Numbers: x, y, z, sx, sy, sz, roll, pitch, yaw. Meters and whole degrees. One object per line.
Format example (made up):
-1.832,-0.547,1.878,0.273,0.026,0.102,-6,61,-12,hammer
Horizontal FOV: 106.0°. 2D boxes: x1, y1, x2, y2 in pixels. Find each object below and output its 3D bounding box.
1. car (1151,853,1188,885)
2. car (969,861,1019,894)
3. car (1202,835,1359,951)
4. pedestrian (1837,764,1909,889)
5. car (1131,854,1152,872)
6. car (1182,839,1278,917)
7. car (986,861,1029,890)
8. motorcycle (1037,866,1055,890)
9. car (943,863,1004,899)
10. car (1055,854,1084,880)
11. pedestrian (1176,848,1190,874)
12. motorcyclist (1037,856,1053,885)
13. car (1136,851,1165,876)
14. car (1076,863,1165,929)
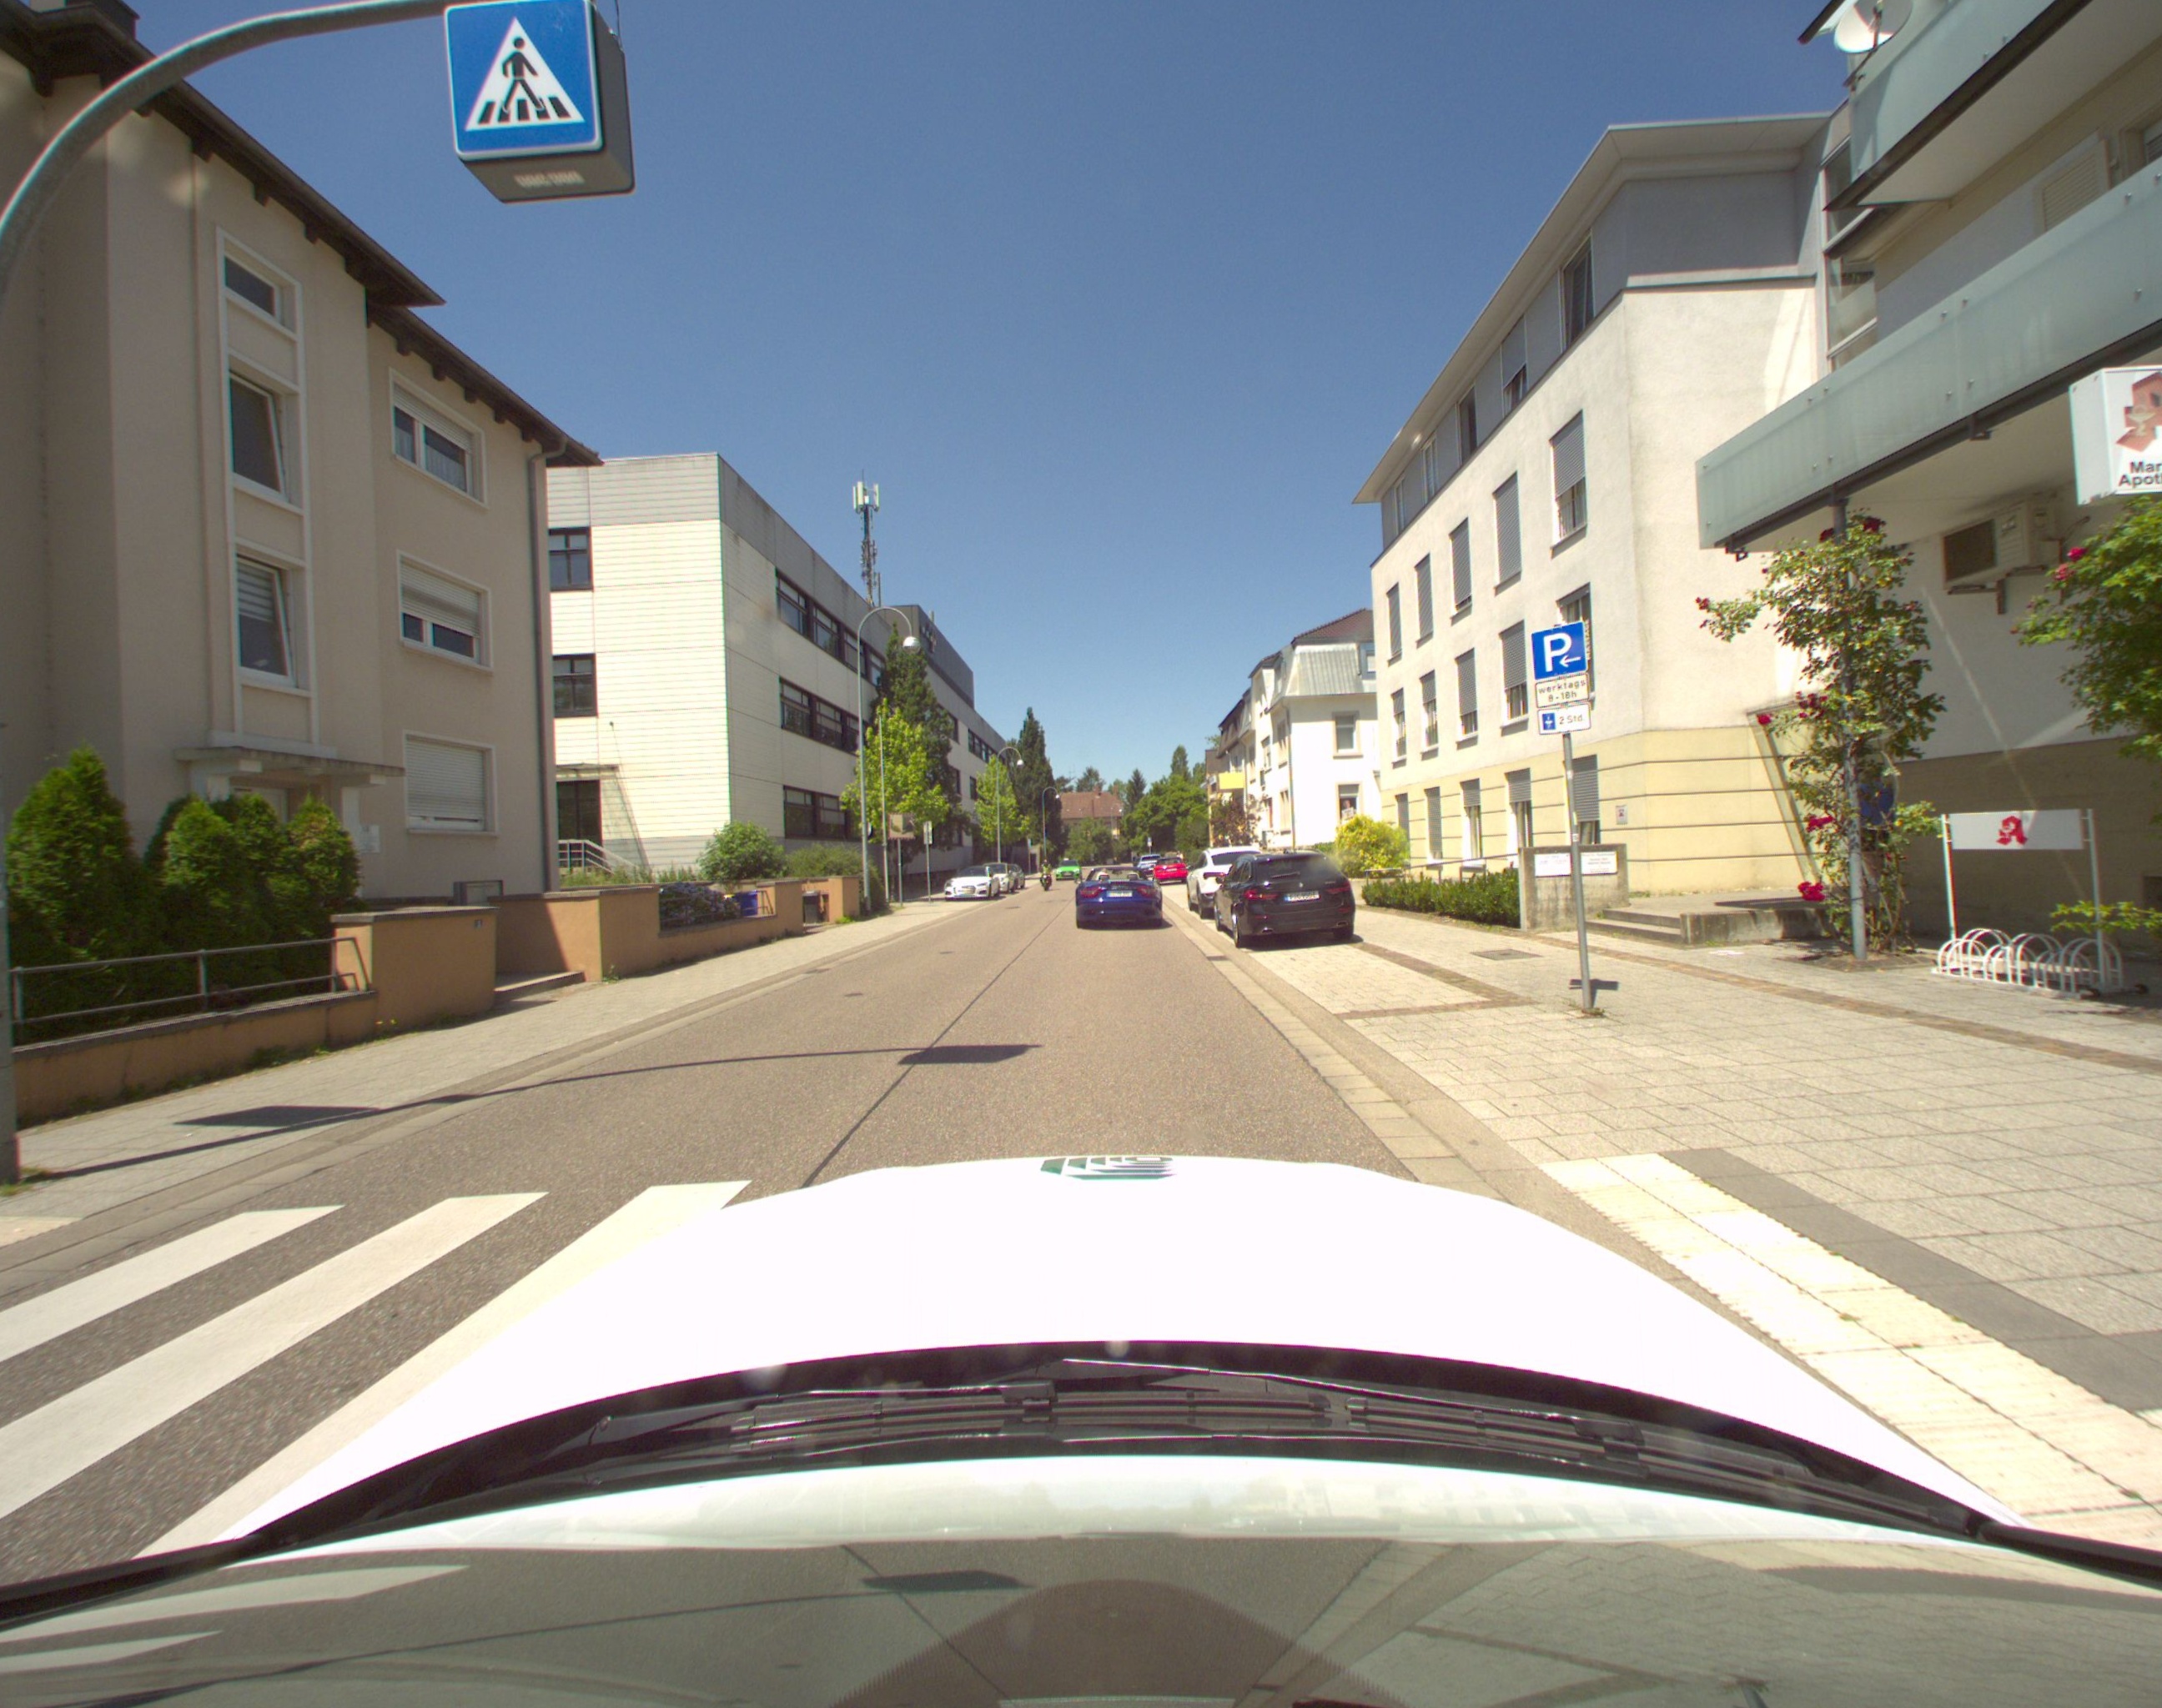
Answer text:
4.532,0.732,42.146,1.597,1.440,3.856,-5,0,3,car
-4.249,1.130,40.478,1.815,1.512,4.292,-2,0,2,car
3.320,0.588,14.502,1.698,1.556,4.751,-6,0,2,car
11.152,-0.374,11.471,0.411,1.701,0.591,-2,-1,-31,pedestrian
5.457,0.776,73.442,1.625,1.446,4.400,-5,0,2,car
3.650,0.542,20.657,1.698,1.666,4.583,-3,0,2,car
-4.040,1.171,45.281,1.741,1.409,3.936,-3,0,3,car
-1.805,1.217,41.635,0.696,1.107,1.791,-4,-1,2,motorcycle
-4.504,1.100,34.774,1.815,1.411,4.580,-1,0,2,car
-0.804,0.911,59.226,1.816,1.588,4.102,-4,2,1,car
6.801,0.457,54.403,0.738,1.669,0.706,-5,-1,0,pedestrian
-1.834,0.831,41.454,0.696,1.433,0.707,-4,-1,2,motorcyclist
4.985,0.670,58.908,1.836,1.619,4.430,-4,0,3,car
0.914,0.895,19.226,1.819,1.337,4.702,-1,-1,2,car
